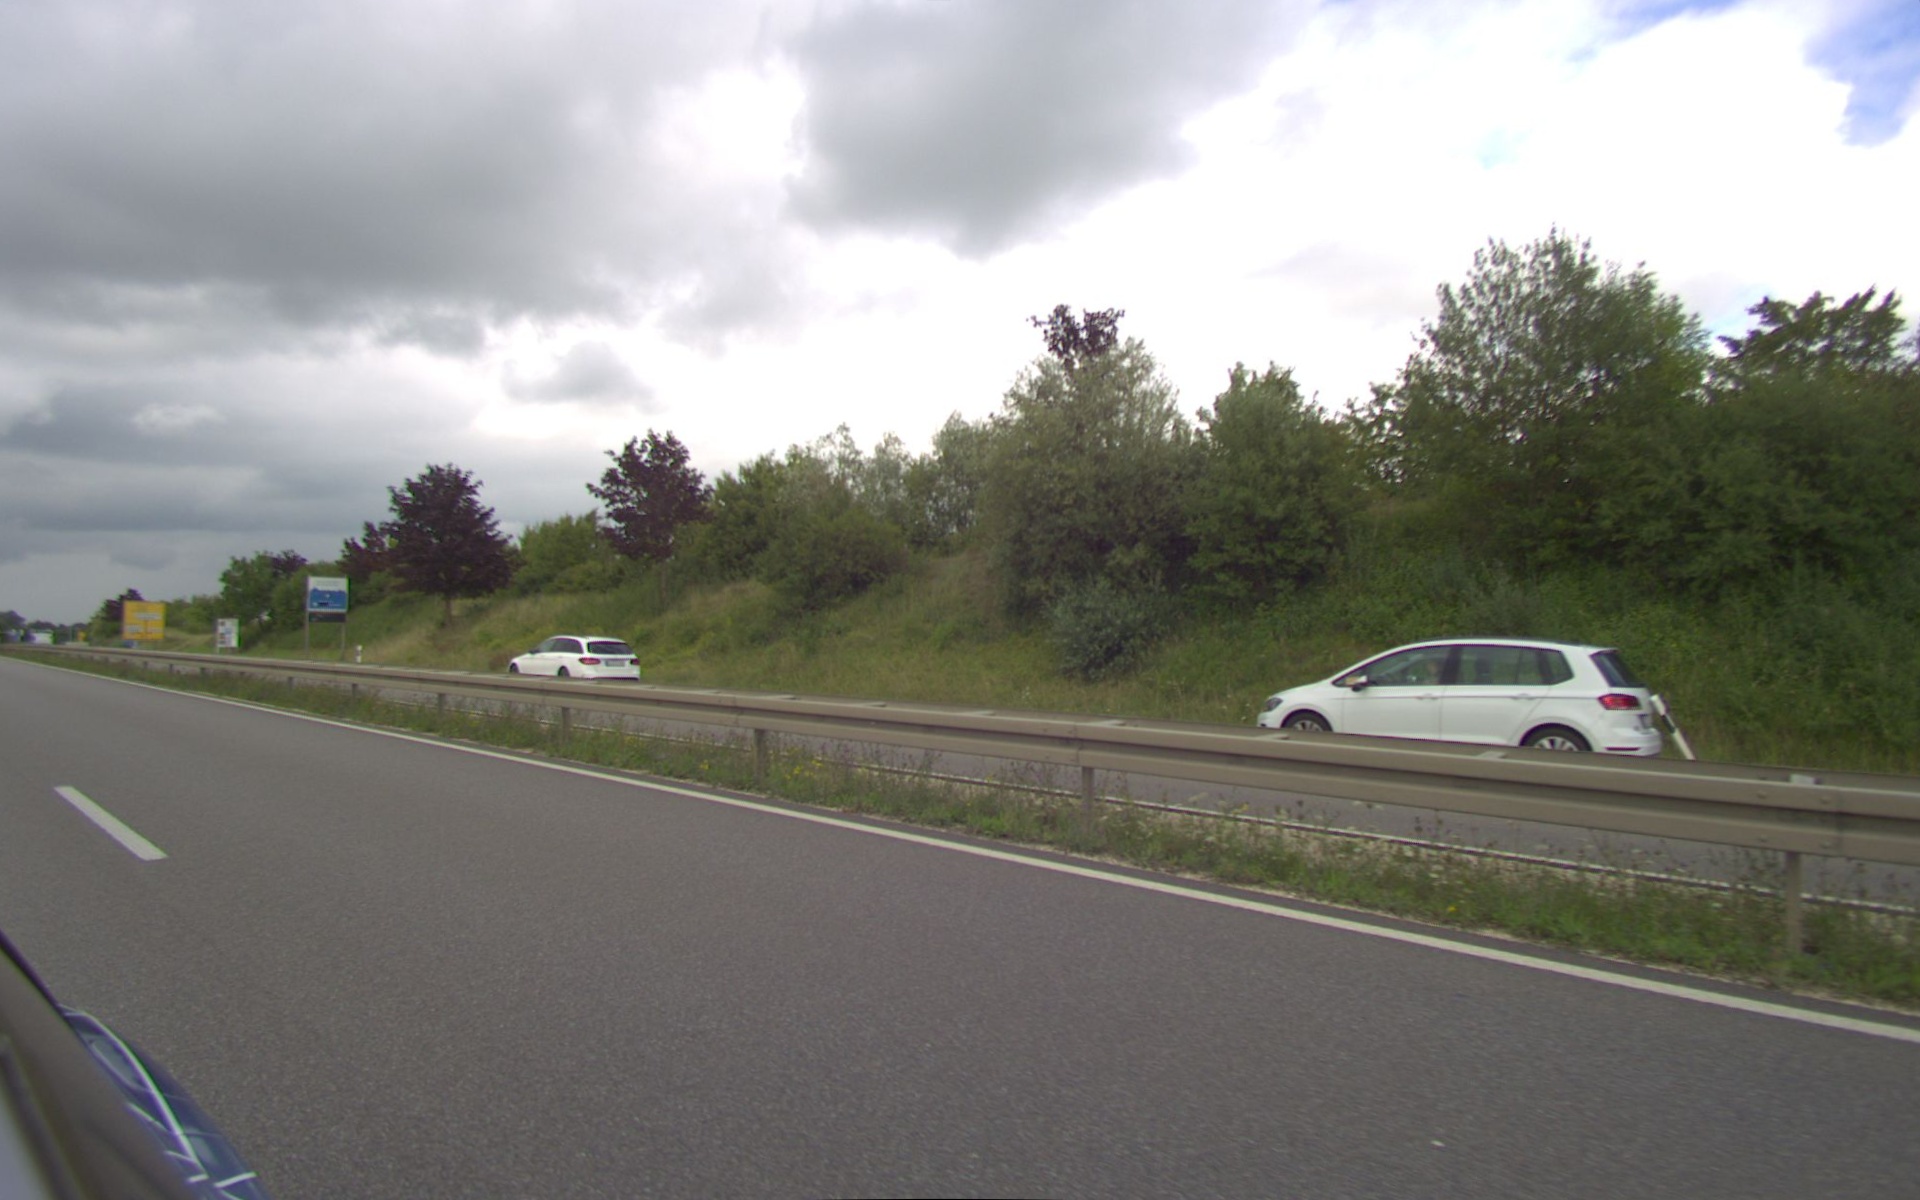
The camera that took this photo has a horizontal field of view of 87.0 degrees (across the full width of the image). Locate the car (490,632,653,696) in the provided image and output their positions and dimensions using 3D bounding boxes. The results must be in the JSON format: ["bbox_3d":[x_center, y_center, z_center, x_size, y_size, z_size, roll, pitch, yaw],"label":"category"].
[{"bbox_3d":[-10.305,1.681,26.654,4.986,1.529,1.972,-4,-4,42],"label":"car"}]

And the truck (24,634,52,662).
[{"bbox_3d":[-140.278,7.324,153.947,5.289,4.028,2.771,-4,-4,45],"label":"truck"}]

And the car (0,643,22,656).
[{"bbox_3d":[-115.791,6.028,123.494,1.734,1.497,4.578,2,-4,-45],"label":"car"}]

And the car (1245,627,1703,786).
[{"bbox_3d":[5.895,1.162,11.942,4.460,1.529,1.901,-4,-4,41],"label":"car"}]
